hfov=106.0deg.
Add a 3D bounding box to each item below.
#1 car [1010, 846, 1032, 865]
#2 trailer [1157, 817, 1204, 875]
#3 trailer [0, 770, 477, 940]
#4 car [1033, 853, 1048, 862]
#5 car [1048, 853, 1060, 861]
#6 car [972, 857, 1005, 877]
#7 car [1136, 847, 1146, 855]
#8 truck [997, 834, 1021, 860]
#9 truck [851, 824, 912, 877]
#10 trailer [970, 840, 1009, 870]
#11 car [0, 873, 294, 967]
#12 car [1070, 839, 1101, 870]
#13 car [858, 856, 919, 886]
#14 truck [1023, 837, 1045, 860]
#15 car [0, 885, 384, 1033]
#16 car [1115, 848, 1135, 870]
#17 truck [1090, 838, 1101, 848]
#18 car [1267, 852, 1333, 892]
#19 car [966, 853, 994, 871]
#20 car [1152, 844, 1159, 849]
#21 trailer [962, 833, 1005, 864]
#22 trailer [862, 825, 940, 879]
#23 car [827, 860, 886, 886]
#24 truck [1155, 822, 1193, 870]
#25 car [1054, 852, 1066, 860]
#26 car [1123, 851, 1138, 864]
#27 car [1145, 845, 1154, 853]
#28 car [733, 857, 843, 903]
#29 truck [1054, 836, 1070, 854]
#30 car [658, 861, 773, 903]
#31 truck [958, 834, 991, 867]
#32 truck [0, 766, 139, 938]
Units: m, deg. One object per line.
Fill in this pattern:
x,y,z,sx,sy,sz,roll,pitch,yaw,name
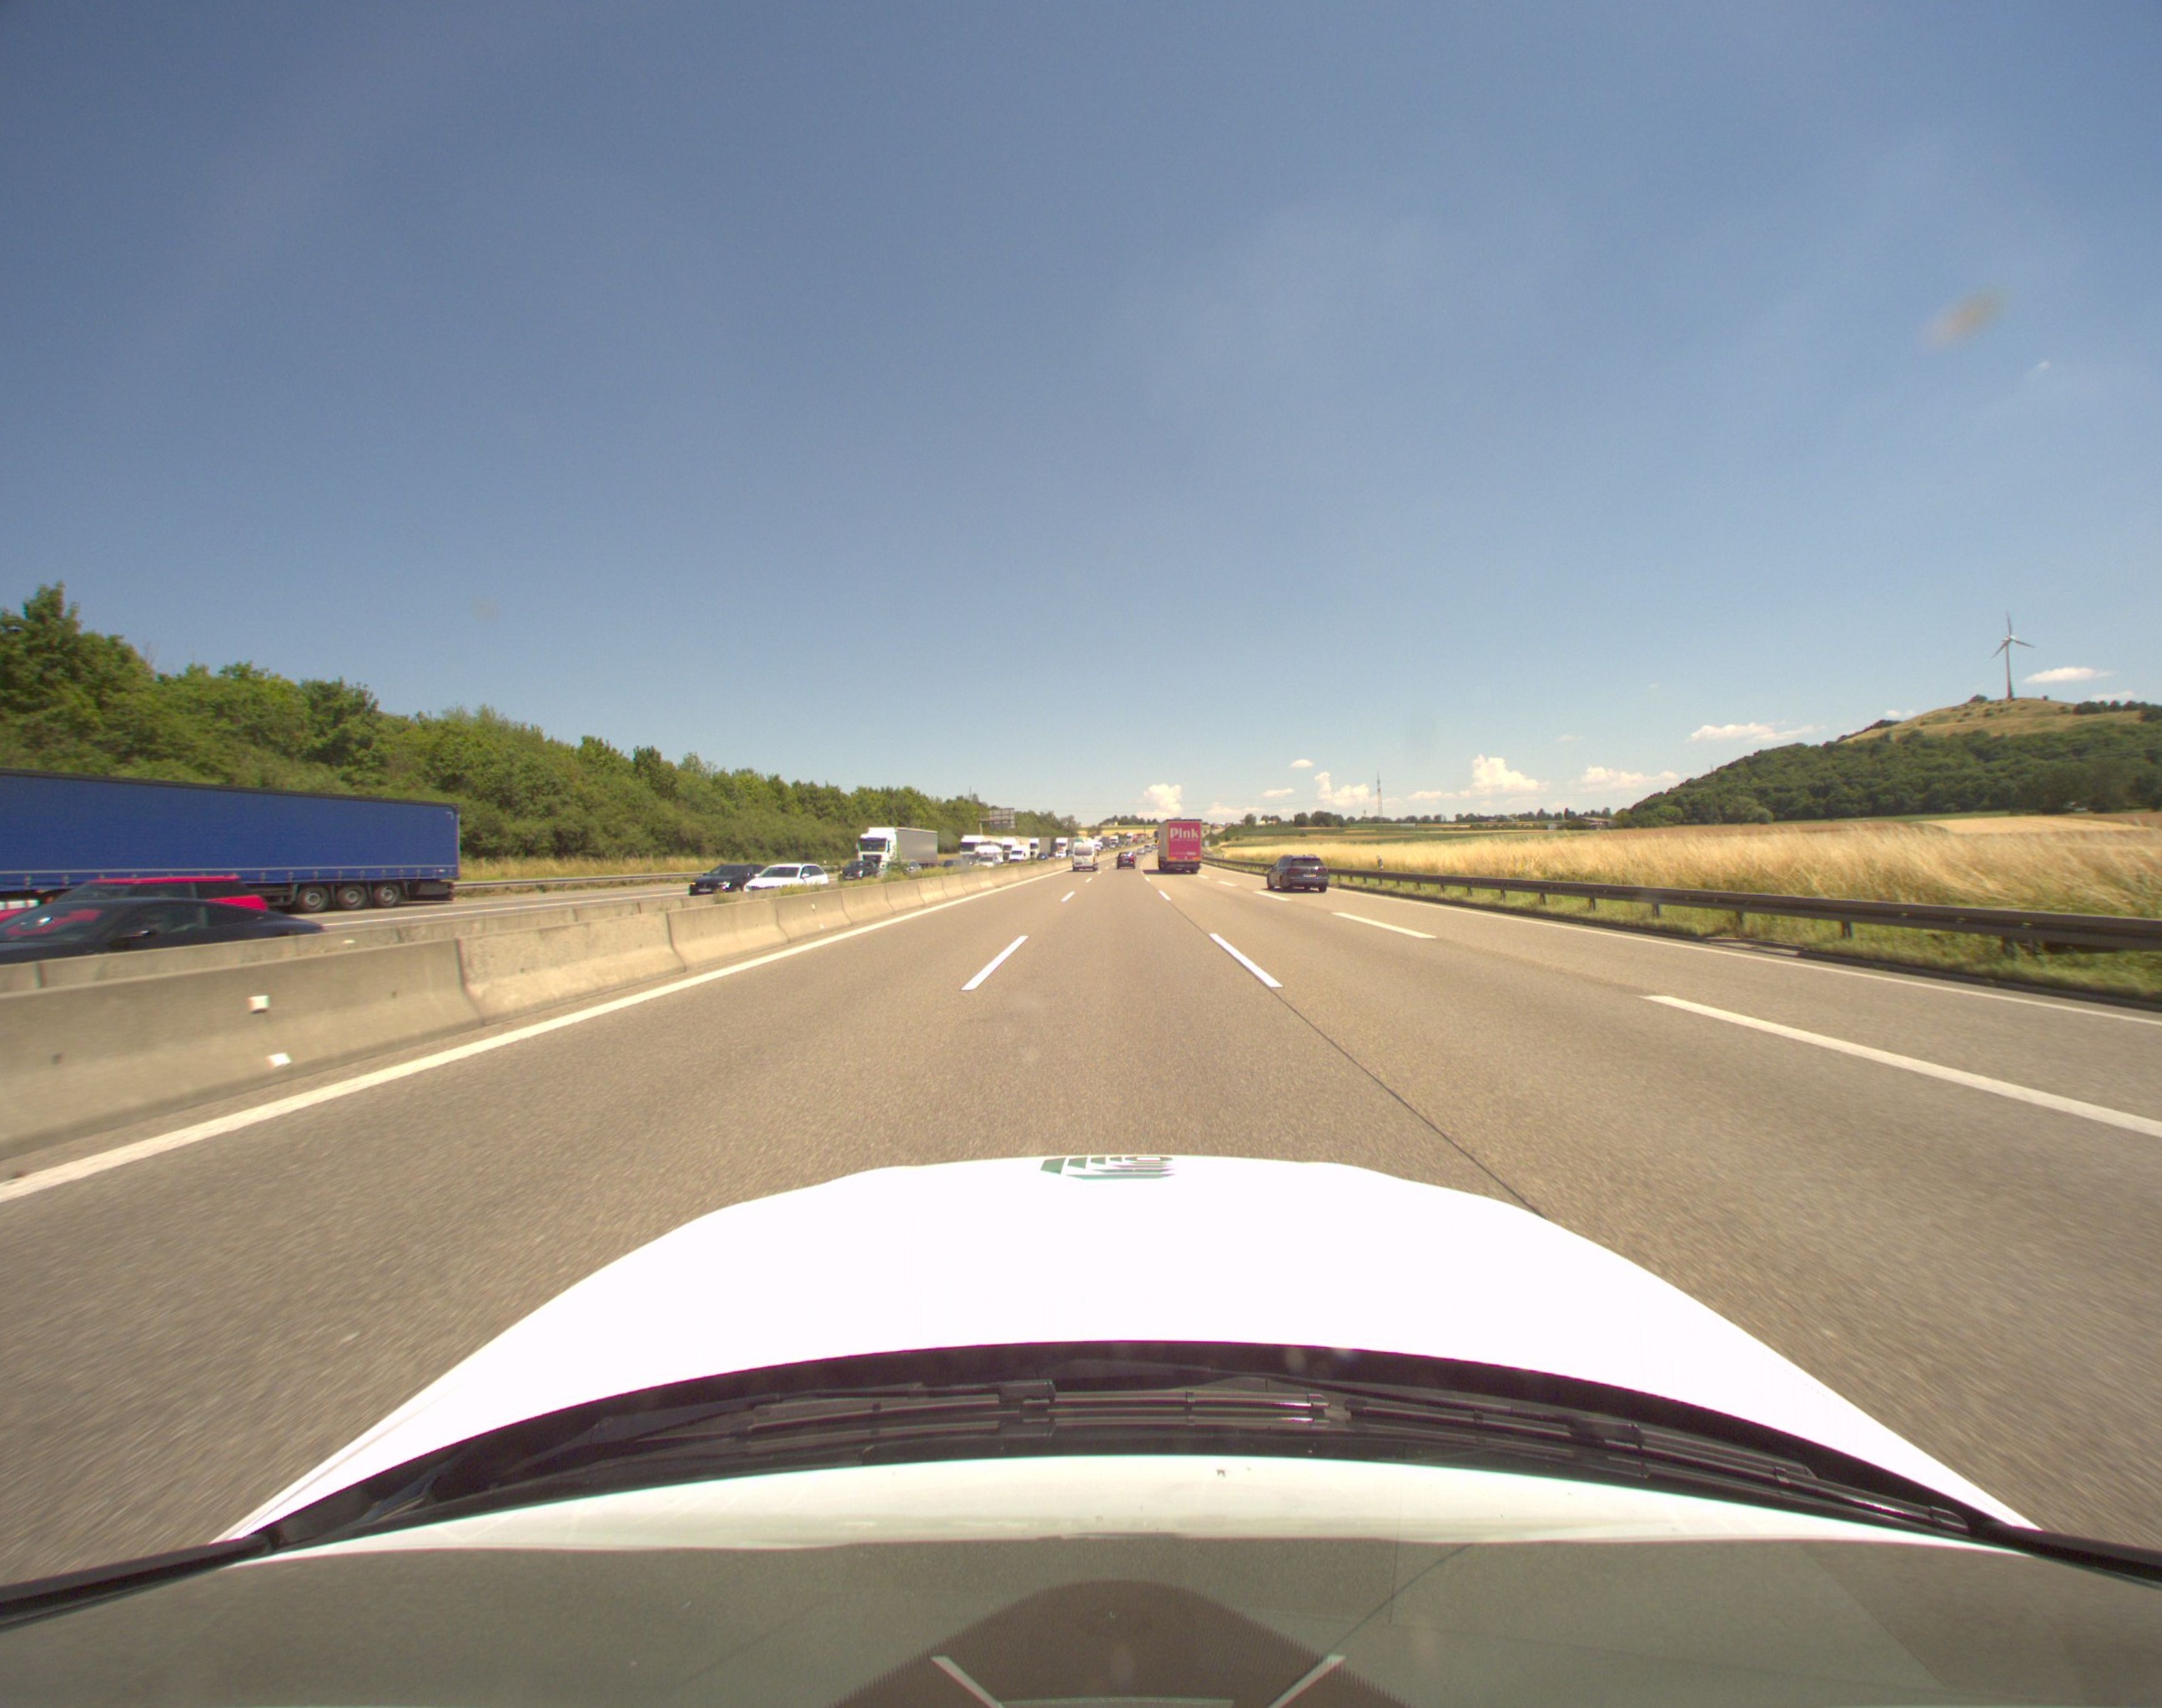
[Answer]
-8.456,0.191,115.730,1.888,2.574,7.582,-1,0,5,car
7.768,-0.719,65.264,2.906,4.117,13.872,0,1,3,trailer
-26.386,-0.023,25.682,3.067,3.971,14.508,0,0,4,trailer
-6.886,0.572,139.699,1.868,1.434,4.931,0,0,4,car
-5.816,0.607,175.685,1.982,1.726,4.416,-1,0,8,car
-8.131,1.102,72.128,1.832,1.677,4.451,-1,0,7,car
13.401,-0.716,181.864,1.985,1.585,4.004,-2,0,4,car
-11.363,-1.073,129.258,2.742,4.042,6.107,0,1,4,truck
-16.530,-0.306,67.922,3.185,4.132,6.189,-1,0,3,truck
-10.318,0.190,92.640,2.858,3.183,10.734,0,0,2,trailer
-17.656,1.117,15.098,1.738,1.404,4.219,-1,0,6,car
0.458,0.080,71.677,2.168,2.625,4.682,0,-1,8,car
-10.260,0.881,43.884,1.986,1.445,4.795,-1,0,2,car
-8.825,-1.047,152.223,2.946,4.209,6.617,0,0,7,truck
-11.151,1.101,9.789,1.784,1.276,4.223,-1,0,2,car
4.334,0.474,79.307,1.839,1.860,4.212,-1,3,4,car
4.521,-3.443,252.260,2.524,3.207,7.607,-1,1,8,truck
8.704,0.683,32.669,1.753,1.471,4.541,0,0,4,car
-10.484,0.801,84.925,2.099,1.723,4.933,-1,0,2,car
22.370,-2.210,244.818,1.984,1.310,4.007,-1,2,5,car
-13.030,-0.757,110.341,2.889,3.873,13.896,-1,0,5,trailer
-16.126,-0.209,74.507,3.208,4.421,13.793,-1,0,4,trailer
-13.835,1.139,50.460,1.983,1.520,4.315,-1,0,6,car
8.197,-0.714,72.231,2.904,4.008,6.516,0,1,3,truck
-4.154,0.440,159.572,1.872,1.474,4.412,-1,0,5,car
7.164,0.536,117.804,1.984,1.750,4.006,0,-1,5,car
17.460,-1.275,207.680,1.983,1.904,4.007,-1,0,6,car
-10.618,0.888,29.985,1.986,1.520,5.153,-1,0,2,car
-4.467,-2.213,192.719,2.838,4.036,6.617,-1,1,7,truck
-14.239,1.048,32.100,1.867,1.450,4.643,-1,0,9,car
-13.543,-0.431,104.052,2.835,4.006,5.983,-1,0,5,truck
-26.892,-0.034,18.777,3.076,4.029,6.099,0,0,3,truck
